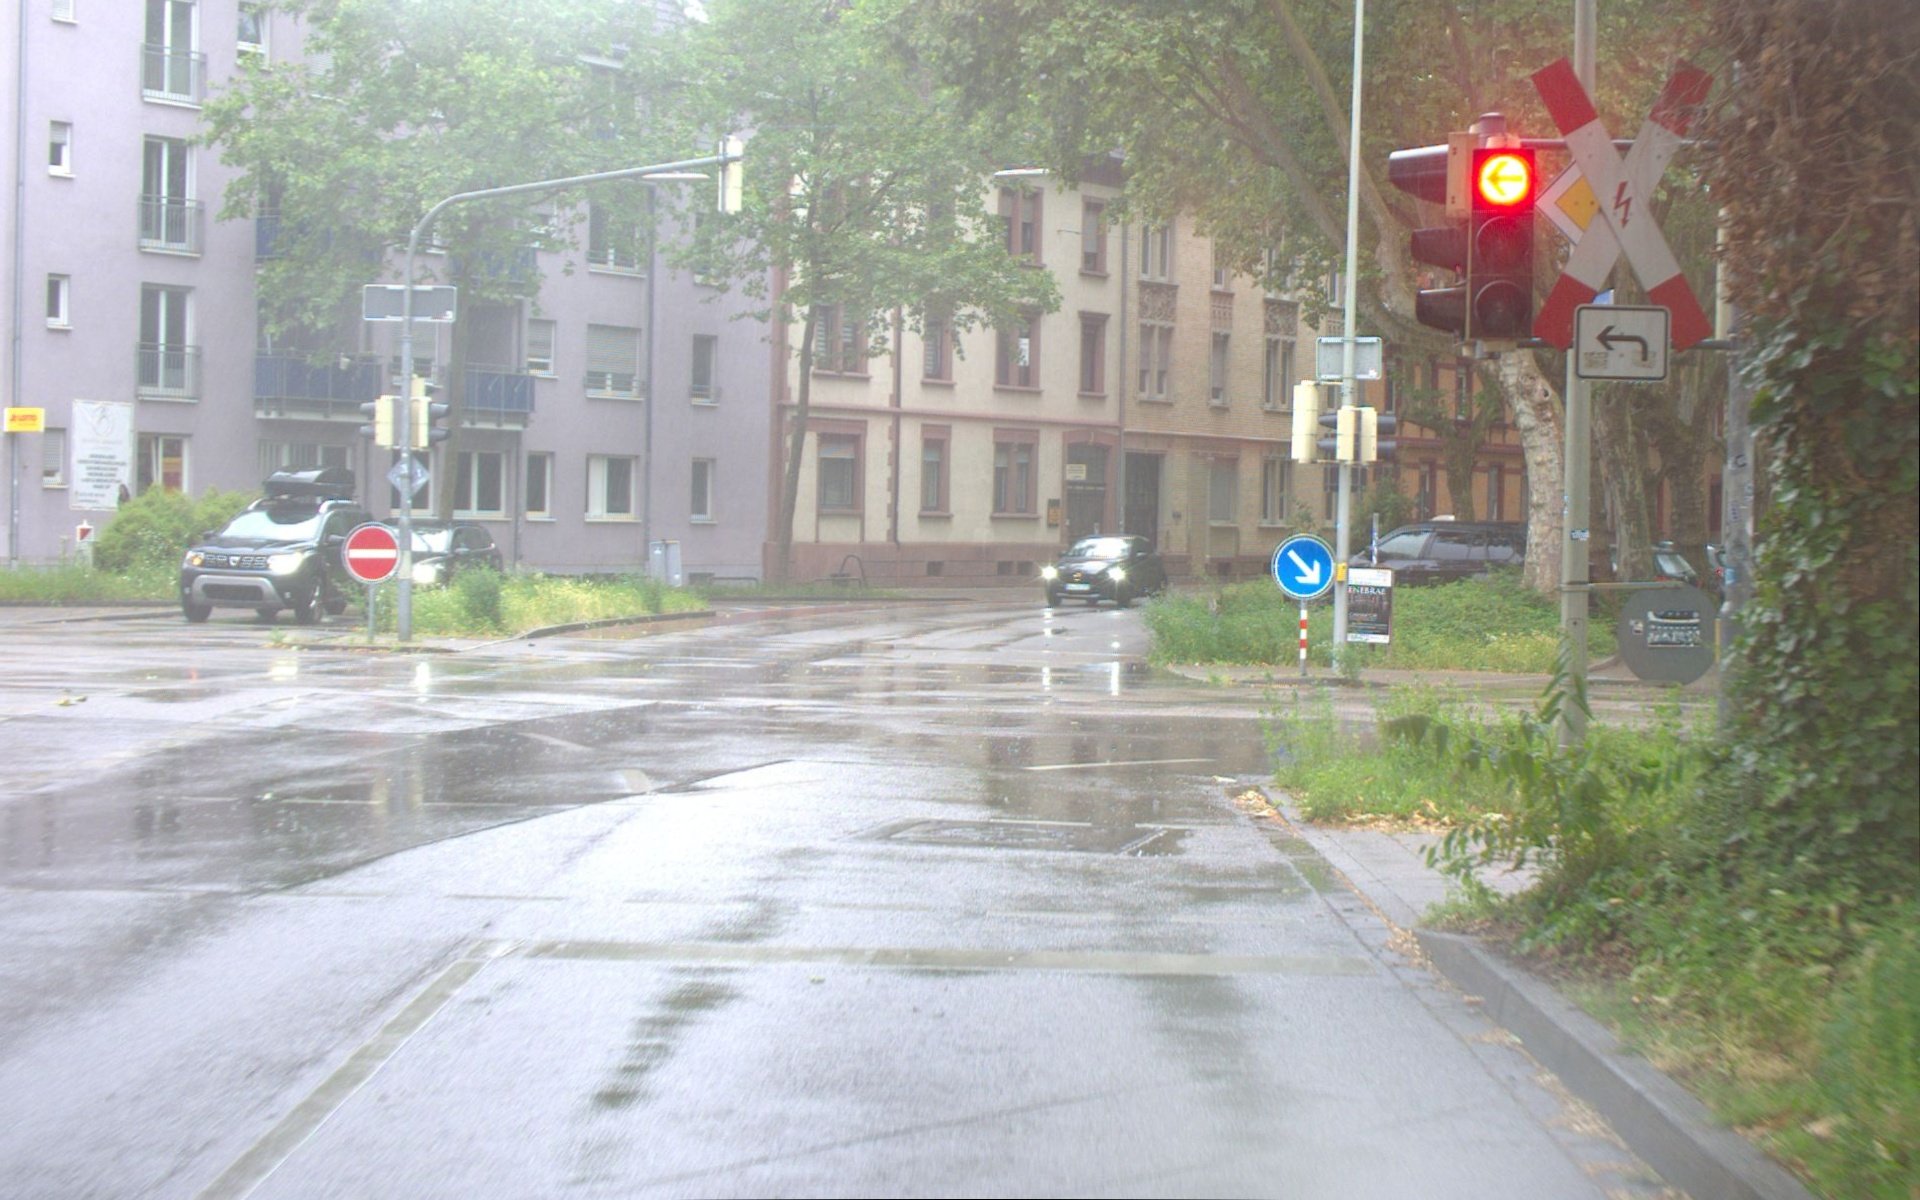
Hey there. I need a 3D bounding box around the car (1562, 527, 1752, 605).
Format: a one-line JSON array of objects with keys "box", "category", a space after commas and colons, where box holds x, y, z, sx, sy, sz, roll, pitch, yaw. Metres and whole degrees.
[{"box": [14.827, -0.737, 73.156, 3.612, 1.612, 1.679, 1, 2, 29], "category": "car"}]

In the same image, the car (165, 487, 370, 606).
[{"box": [-9.338, -0.753, 46.617, 1.725, 1.547, 3.559, 0, 2, 6], "category": "car"}]

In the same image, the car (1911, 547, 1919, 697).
[{"box": [14.577, 0.275, 48.827, 1.995, 2.006, 3.997, 0, 2, 16], "category": "car"}]

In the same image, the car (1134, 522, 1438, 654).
[{"box": [3.873, -0.155, 40.651, 3.480, 1.518, 1.519, 0, 2, 9], "category": "car"}]

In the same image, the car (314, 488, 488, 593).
[{"box": [-8.500, -0.927, 52.547, 1.725, 1.547, 3.559, 0, 2, 6], "category": "car"}]

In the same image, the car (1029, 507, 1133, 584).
[{"box": [2.530, -1.140, 71.179, 1.603, 1.547, 3.558, 0, 2, 11], "category": "car"}]
